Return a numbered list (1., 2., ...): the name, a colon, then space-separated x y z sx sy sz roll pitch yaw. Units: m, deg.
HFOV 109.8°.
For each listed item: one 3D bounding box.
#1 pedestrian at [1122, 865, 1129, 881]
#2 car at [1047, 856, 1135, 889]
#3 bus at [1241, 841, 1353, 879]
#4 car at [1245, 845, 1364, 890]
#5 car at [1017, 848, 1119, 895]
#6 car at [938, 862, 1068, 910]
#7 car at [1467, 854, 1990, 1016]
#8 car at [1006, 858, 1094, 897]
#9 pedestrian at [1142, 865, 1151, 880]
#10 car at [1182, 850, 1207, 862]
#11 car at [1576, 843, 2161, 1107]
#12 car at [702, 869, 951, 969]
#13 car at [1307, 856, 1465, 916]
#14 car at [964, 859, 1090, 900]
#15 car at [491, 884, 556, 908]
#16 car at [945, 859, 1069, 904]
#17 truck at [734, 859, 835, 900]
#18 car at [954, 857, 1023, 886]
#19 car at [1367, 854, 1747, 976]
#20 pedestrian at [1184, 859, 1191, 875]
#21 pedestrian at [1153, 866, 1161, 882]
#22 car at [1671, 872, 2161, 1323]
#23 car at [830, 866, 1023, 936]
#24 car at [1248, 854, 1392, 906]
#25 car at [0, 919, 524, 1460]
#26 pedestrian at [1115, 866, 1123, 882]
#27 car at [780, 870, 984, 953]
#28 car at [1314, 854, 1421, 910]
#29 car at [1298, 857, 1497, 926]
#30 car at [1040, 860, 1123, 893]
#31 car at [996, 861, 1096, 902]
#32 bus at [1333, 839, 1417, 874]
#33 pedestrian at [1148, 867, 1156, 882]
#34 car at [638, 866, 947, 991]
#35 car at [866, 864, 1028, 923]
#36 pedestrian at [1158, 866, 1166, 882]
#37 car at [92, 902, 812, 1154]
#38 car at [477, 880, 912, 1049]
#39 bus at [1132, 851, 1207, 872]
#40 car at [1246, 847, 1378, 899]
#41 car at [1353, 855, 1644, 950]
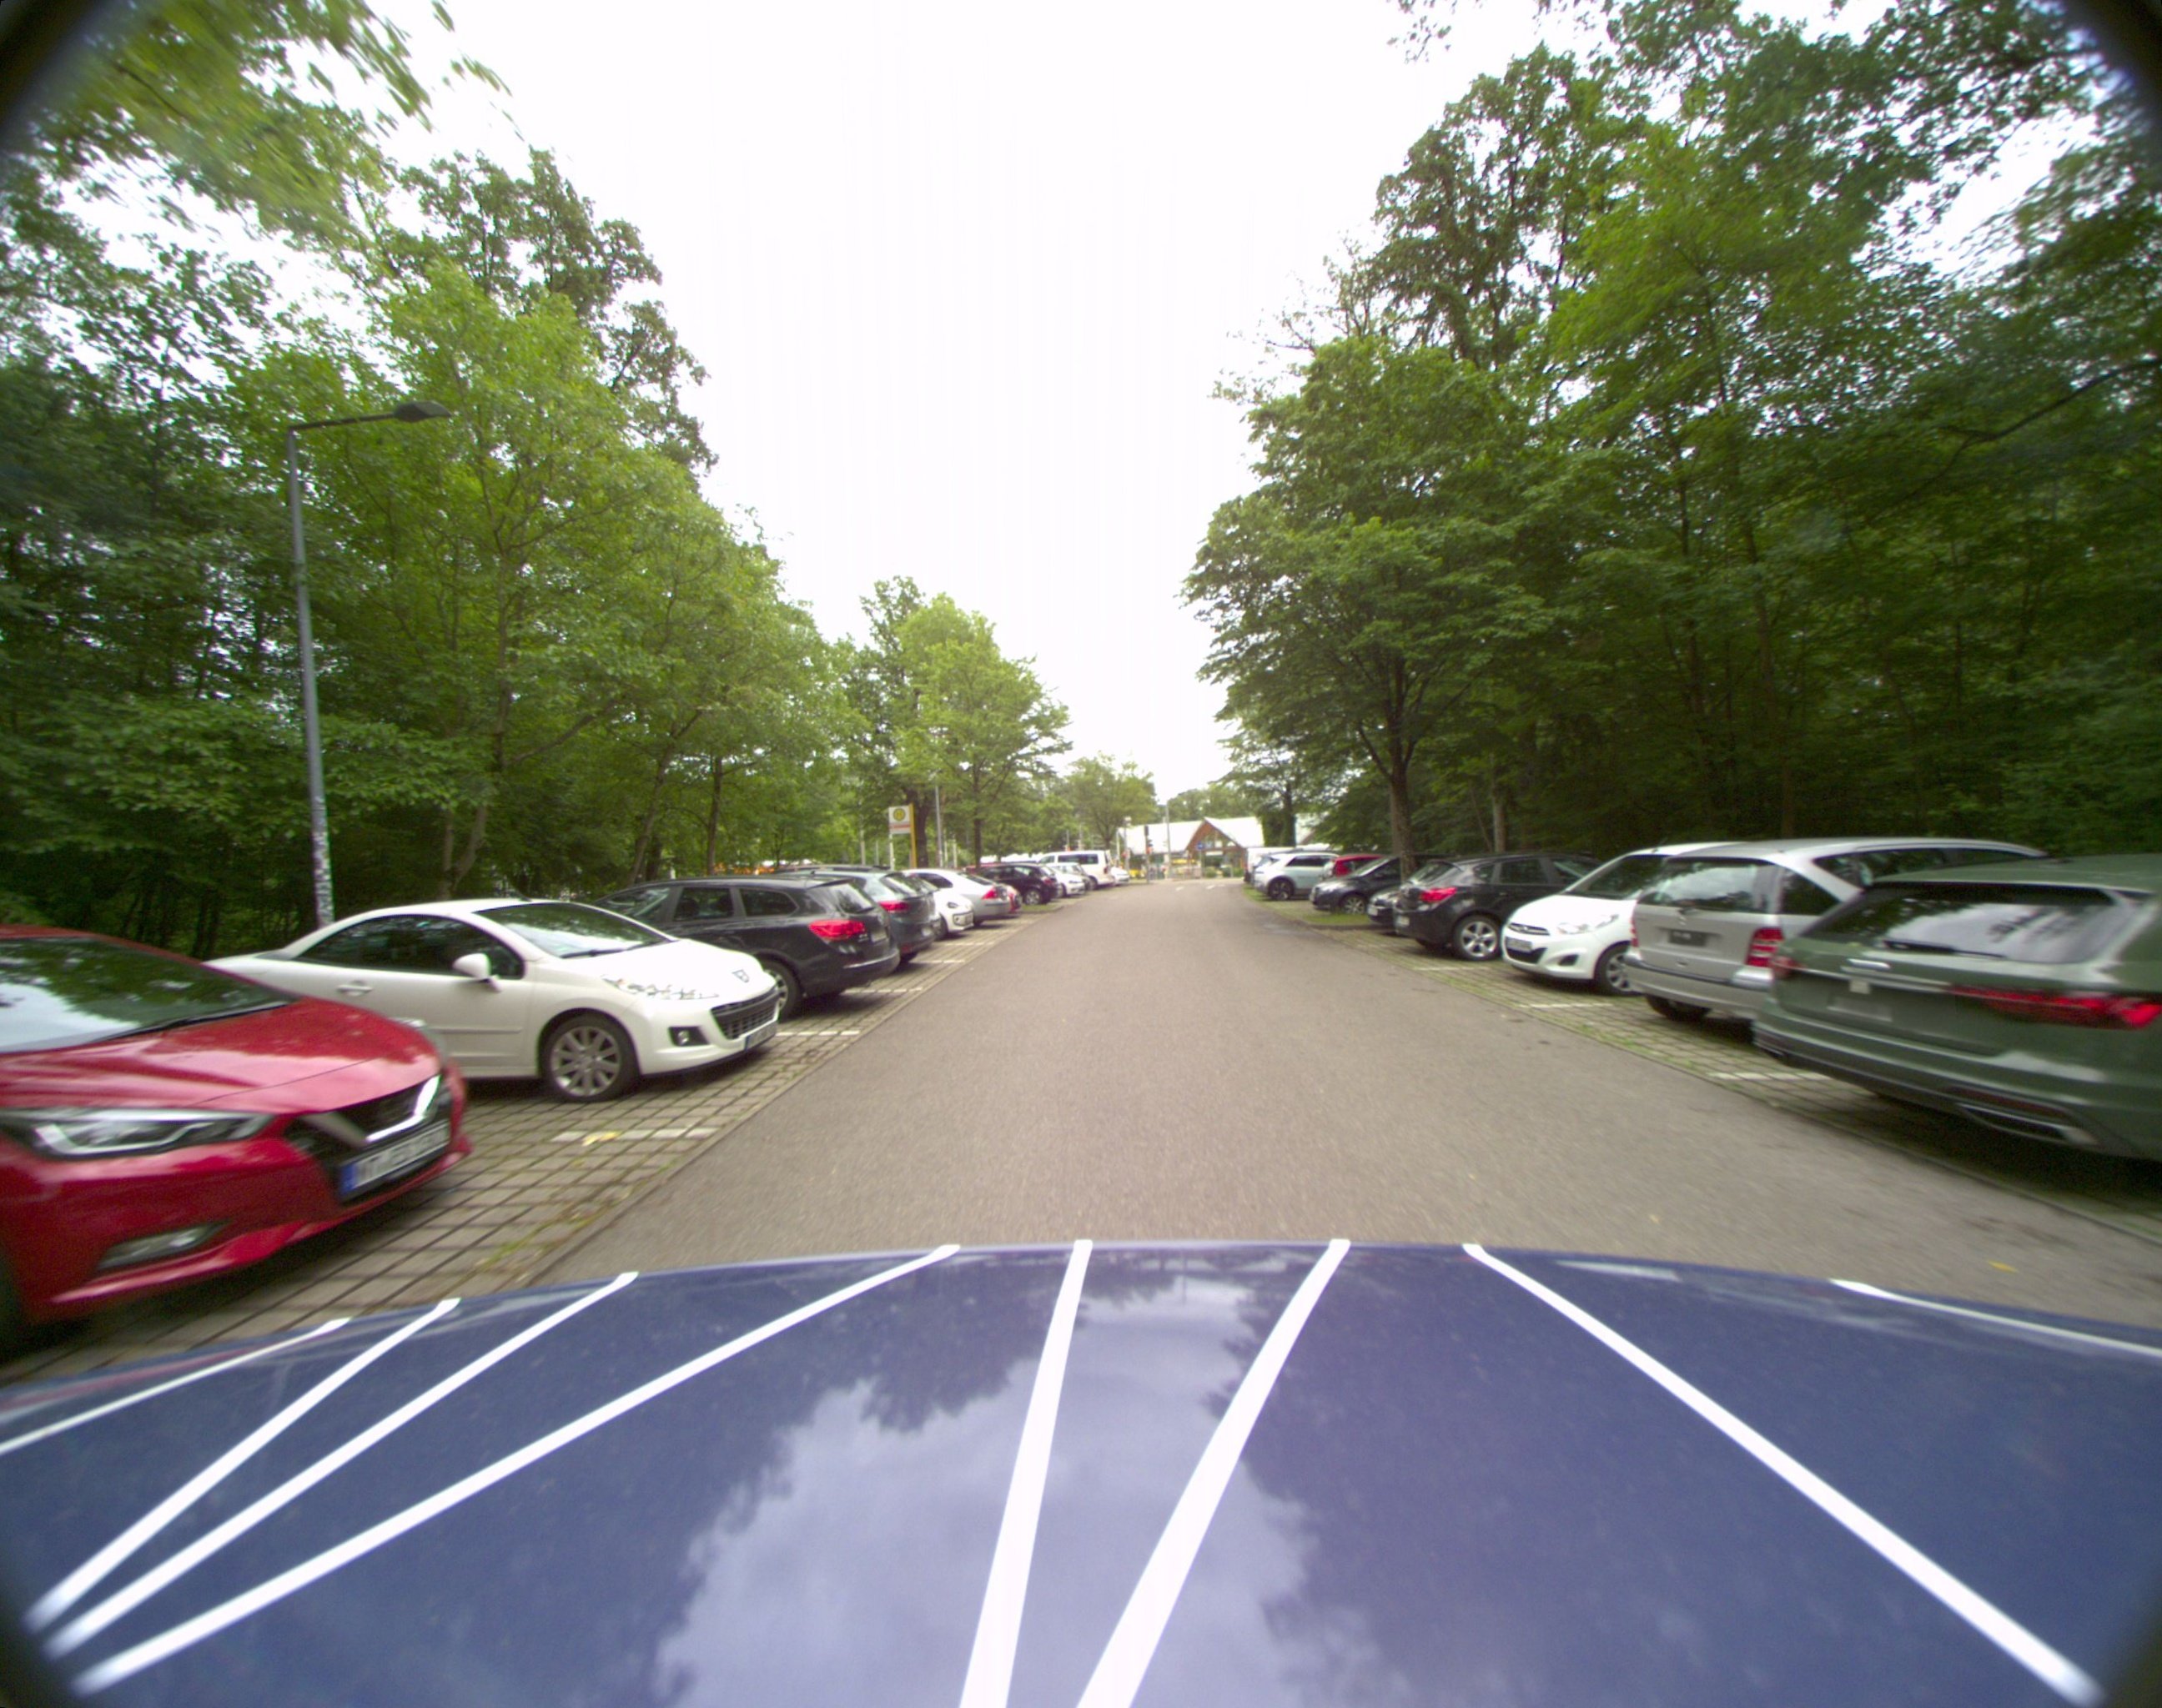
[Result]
1. pedestrian: 4.945 2.159 84.517 0.736 1.746 0.669 -3 -2 0
2. car: 0.593 1.060 43.500 4.526 1.683 2.168 -2 0 18
3. bus: 20.488 0.544 71.858 10.528 3.139 2.808 -1 -3 -21
4. car: 10.227 0.638 35.153 5.093 1.904 1.980 -2 0 13
5. car: -0.620 0.902 38.484 4.656 2.008 2.086 -4 -2 12
6. car: -2.618 1.078 25.962 3.994 1.474 1.923 -2 0 9
7. car: 6.868 0.813 8.425 4.243 1.524 1.763 -1 0 1
8. car: -1.437 1.133 35.890 3.729 1.545 1.848 -4 -3 10
9. pedestrian: 7.702 2.217 89.712 0.732 1.746 0.738 -5 -3 26
10. car: 22.134 0.372 148.311 1.995 2.001 5.447 -6 -4 44
11. car: 6.640 0.780 5.931 4.244 1.637 1.970 -1 0 0
12. car: -4.487 1.128 13.760 3.852 1.536 1.730 -2 0 2
13. car: 8.105 0.843 20.466 3.614 1.465 1.675 -2 0 8
14. car: -2.175 1.040 31.226 4.779 1.467 1.855 -2 -1 12
15. car: -45.683 3.428 62.334 3.995 1.706 2.002 -4 -3 7
16. car: -2.744 1.024 28.578 4.236 1.472 1.920 -2 0 9
17. truck: -27.258 2.347 69.980 8.237 3.493 2.870 -2 -1 7
18. car: -6.695 1.285 55.212 4.573 1.738 2.002 -4 -3 5
19. car: 6.681 0.830 11.129 4.242 1.521 2.007 -2 0 5
20. pedestrian: 12.135 1.476 86.699 0.655 1.746 0.669 -3 -2 1
21. pedestrian: 8.910 2.355 88.865 0.600 1.746 0.667 -2 -3 -23
22. car: 5.995 0.854 3.650 4.650 1.469 2.095 -1 0 1
23. car: -3.627 1.108 18.302 4.135 1.453 1.866 -2 0 6
24. car: 7.971 0.853 25.710 4.363 1.588 2.032 -2 0 9
25. car: -4.803 1.113 2.932 3.806 1.432 1.870 -2 -1 -7
26. pedestrian: 4.212 2.194 84.339 0.736 1.746 0.669 -3 -2 1
27. car: -4.087 1.167 15.955 3.710 1.502 1.752 -2 0 5
28. car: 8.571 0.829 22.853 2.665 1.532 1.446 -2 -1 5
29. car: 7.389 0.857 18.035 3.996 1.482 1.708 -1 0 4
30. car: 0.022 1.213 41.072 4.002 1.545 1.950 -4 -2 18
31. car: -1.514 1.184 33.505 3.994 1.475 1.878 -4 0 10
32. bus: 29.072 0.271 75.123 7.764 3.139 2.808 -1 -3 -21
33. pedestrian: 8.334 2.383 89.269 0.669 1.746 0.561 -2 -3 -36
34. car: -4.124 1.037 11.326 3.776 1.580 1.950 -2 -1 4
35. car: -3.615 1.062 20.989 3.995 1.441 1.942 -2 0 5
36. pedestrian: 9.456 2.359 89.144 0.600 1.746 0.667 -2 -3 -23
37. car: -4.397 1.183 5.824 3.942 1.402 1.878 -2 -1 1
38. car: -3.959 1.101 8.285 3.778 1.472 1.774 -2 -1 -1
39. bus: 16.839 1.370 141.994 3.969 3.461 18.618 -6 -4 40
40. car: 8.445 0.711 28.185 4.433 1.684 2.173 -2 -1 11
41. car: 7.341 0.840 13.707 4.242 1.465 1.720 -2 1 4
